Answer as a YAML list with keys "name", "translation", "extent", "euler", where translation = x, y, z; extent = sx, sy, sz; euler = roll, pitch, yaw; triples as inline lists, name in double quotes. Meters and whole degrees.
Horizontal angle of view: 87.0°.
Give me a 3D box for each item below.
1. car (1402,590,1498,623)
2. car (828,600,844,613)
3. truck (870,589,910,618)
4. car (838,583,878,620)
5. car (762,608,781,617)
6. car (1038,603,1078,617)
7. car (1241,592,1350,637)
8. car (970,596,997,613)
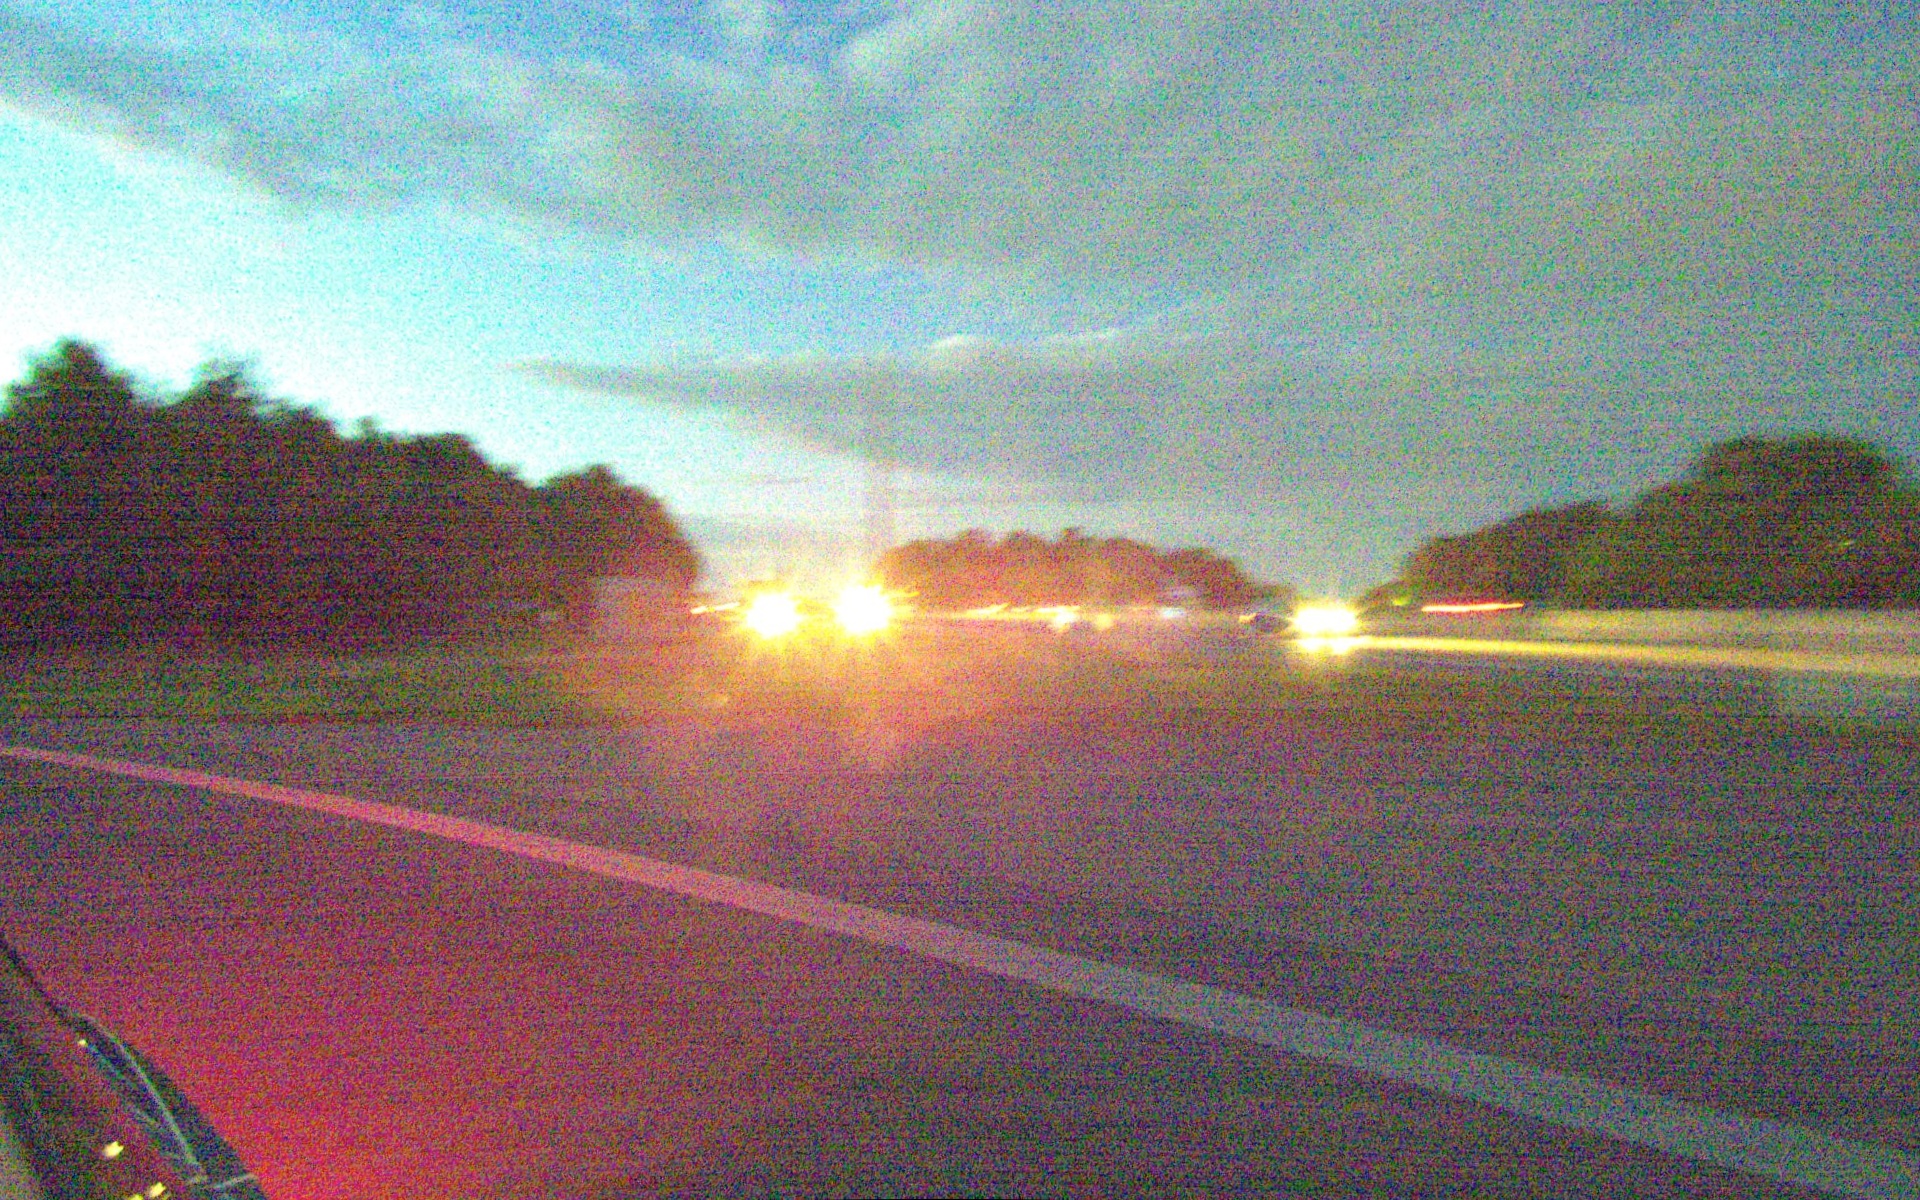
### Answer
- name: "car"
  translation: [20.994, 0.282, 43.517]
  extent: [1.602, 1.287, 3.726]
  euler: [-2, 0, -16]
- name: "car"
  translation: [-22.681, 1.164, 185.040]
  extent: [1.966, 2.217, 4.012]
  euler: [-1, 0, -18]
- name: "truck"
  translation: [-11.637, 0.569, 166.702]
  extent: [3.169, 4.484, 12.802]
  euler: [-1, 0, -19]
- name: "car"
  translation: [-10.182, 0.195, 100.431]
  extent: [2.510, 3.448, 7.805]
  euler: [-2, 0, -16]
- name: "car"
  translation: [-25.385, 1.747, 136.209]
  extent: [1.652, 1.143, 4.013]
  euler: [-2, 0, -22]
- name: "car"
  translation: [8.091, 0.806, 83.747]
  extent: [1.537, 1.067, 4.013]
  euler: [-2, 0, -22]
- name: "car"
  translation: [11.059, 0.466, 33.588]
  extent: [1.703, 1.379, 3.640]
  euler: [-2, 0, -14]
- name: "car"
  translation: [2.863, 0.557, 123.563]
  extent: [1.966, 2.029, 4.012]
  euler: [-1, 0, -18]
